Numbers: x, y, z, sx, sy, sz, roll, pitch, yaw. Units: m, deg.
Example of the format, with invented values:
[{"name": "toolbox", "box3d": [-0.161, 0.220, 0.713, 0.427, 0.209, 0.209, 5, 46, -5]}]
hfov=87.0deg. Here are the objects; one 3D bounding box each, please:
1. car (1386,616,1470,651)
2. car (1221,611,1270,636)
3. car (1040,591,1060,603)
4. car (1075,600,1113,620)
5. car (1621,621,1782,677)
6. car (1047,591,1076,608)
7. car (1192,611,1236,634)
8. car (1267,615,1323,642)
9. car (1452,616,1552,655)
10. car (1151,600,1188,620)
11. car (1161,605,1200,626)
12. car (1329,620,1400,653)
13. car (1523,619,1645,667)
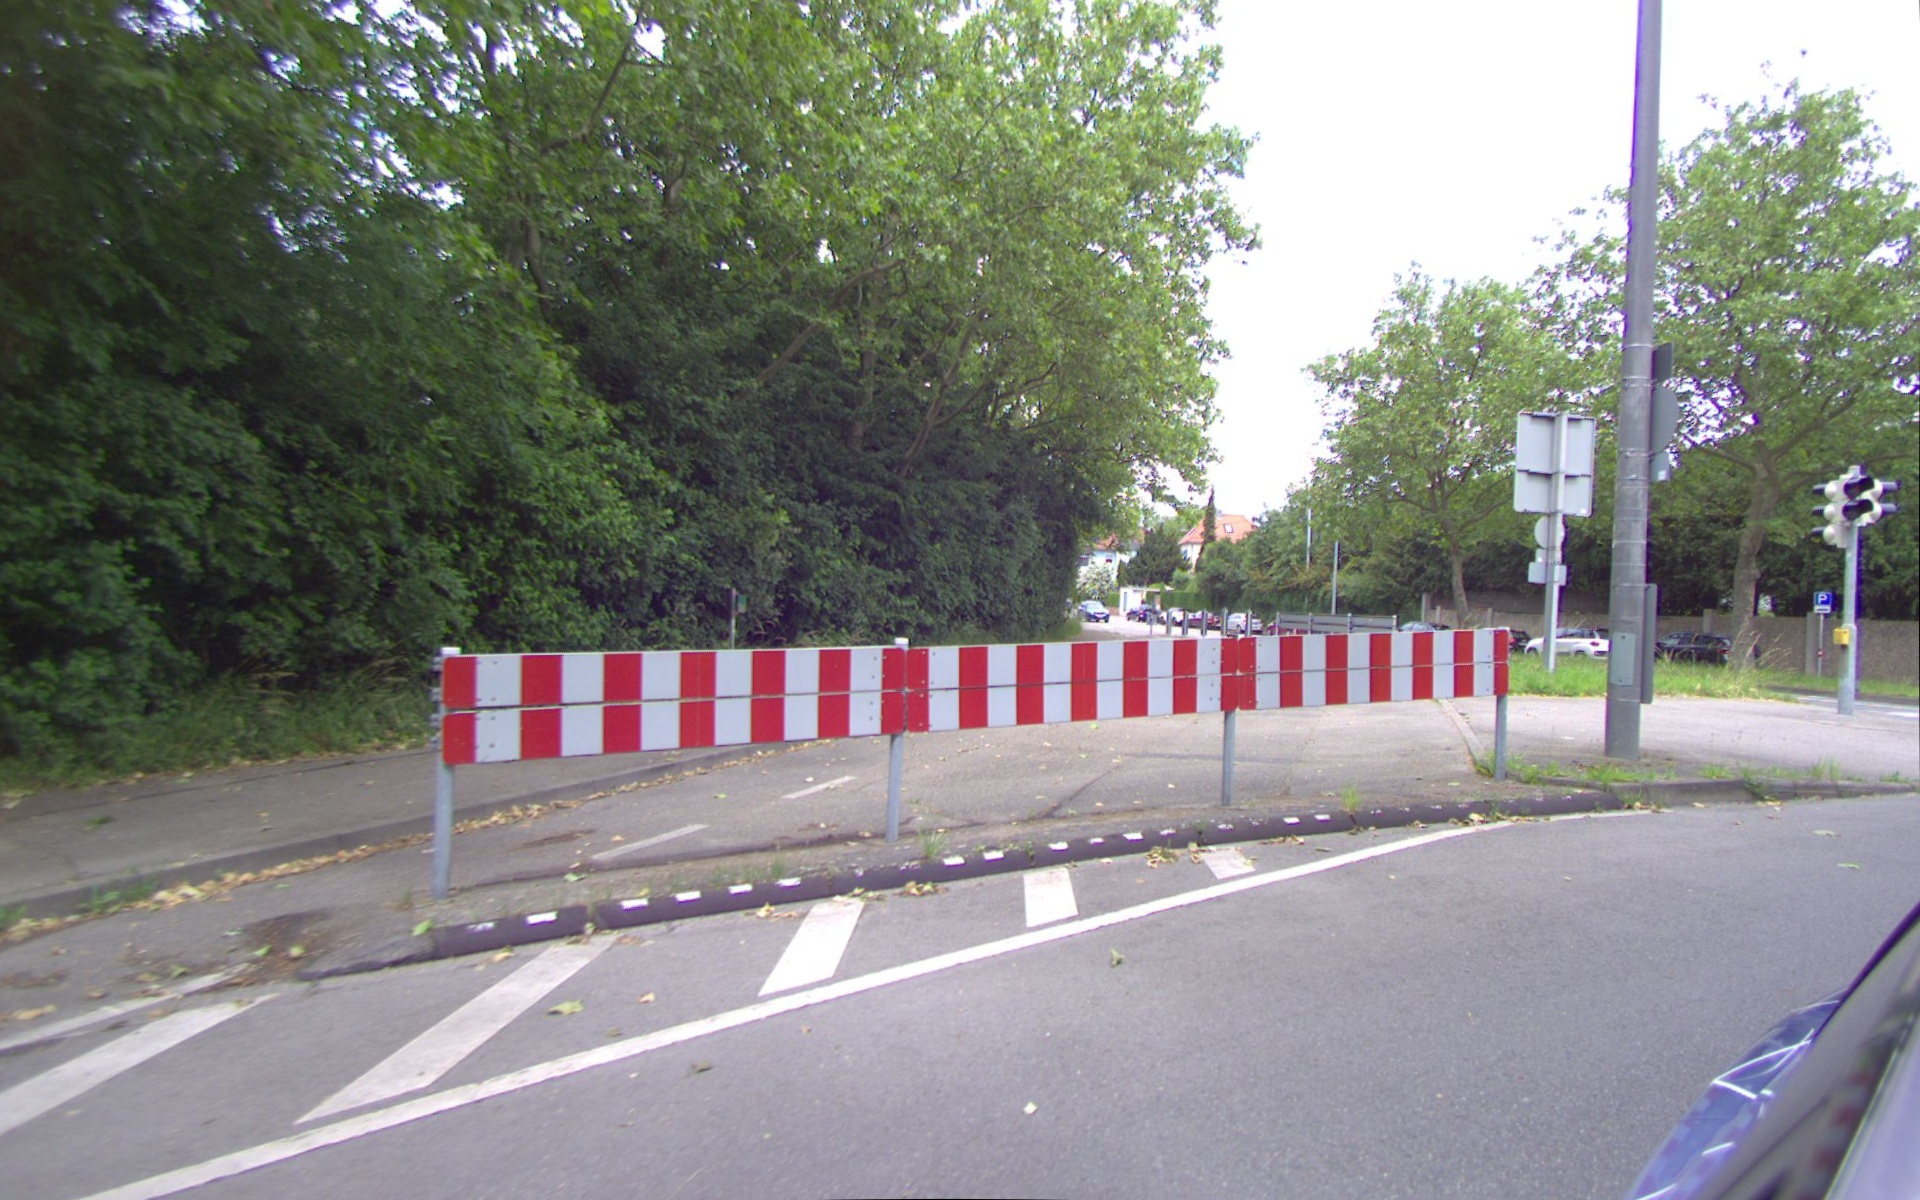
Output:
[{"name": "car", "box3d": [23.644, 1.659, 51.335, 1.760, 1.524, 4.045, 5, -1, -11]}, {"name": "car", "box3d": [20.014, 1.648, 71.032, 1.652, 1.524, 3.838, 5, -1, -11]}, {"name": "car", "box3d": [10.822, -0.378, 121.675, 1.653, 1.346, 3.836, 2, 0, -6]}, {"name": "car", "box3d": [10.738, 0.797, 81.460, 1.760, 1.447, 4.154, 5, -1, -9]}, {"name": "car", "box3d": [26.266, 1.683, 36.045, 1.760, 1.636, 4.471, 5, -1, -13]}, {"name": "car", "box3d": [10.554, -0.047, 105.234, 1.760, 1.636, 4.594, 5, -1, -9]}, {"name": "car", "box3d": [19.175, 1.688, 76.457, 1.652, 1.524, 3.838, 5, -1, -11]}, {"name": "car", "box3d": [21.311, 1.787, 64.461, 1.652, 1.524, 3.838, 5, -1, -11]}, {"name": "car", "box3d": [24.658, 1.580, 46.208, 1.760, 1.524, 4.045, 5, -1, -11]}, {"name": "car", "box3d": [17.686, 0.852, 85.504, 1.652, 1.524, 3.838, 5, -1, -11]}, {"name": "car", "box3d": [17.932, 1.274, 82.520, 1.652, 1.524, 3.838, 5, -1, -11]}, {"name": "car", "box3d": [22.717, 2.014, 57.016, 1.760, 1.624, 4.045, 3, 0, -10]}, {"name": "car", "box3d": [25.532, 1.718, 41.584, 1.760, 1.636, 4.225, 5, -1, -11]}]
